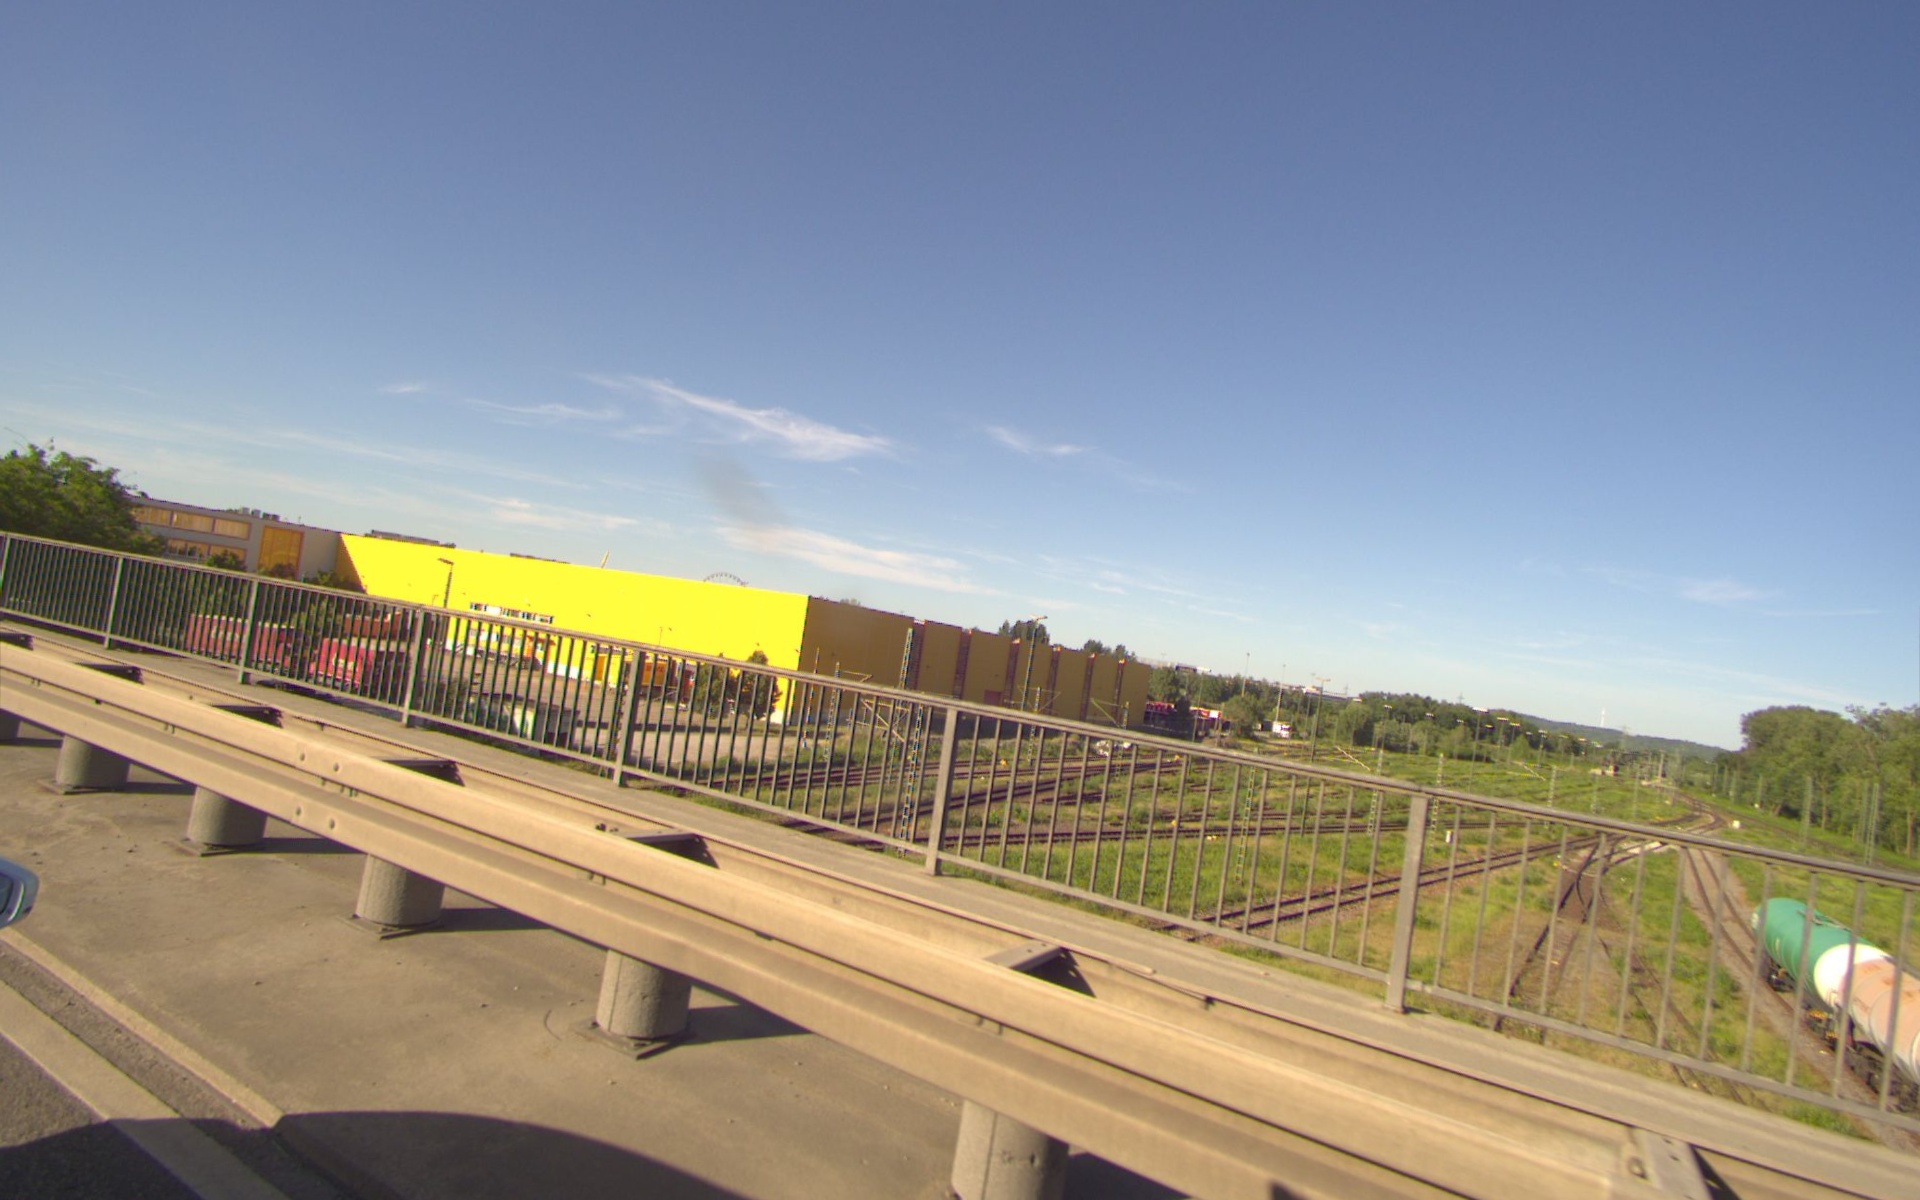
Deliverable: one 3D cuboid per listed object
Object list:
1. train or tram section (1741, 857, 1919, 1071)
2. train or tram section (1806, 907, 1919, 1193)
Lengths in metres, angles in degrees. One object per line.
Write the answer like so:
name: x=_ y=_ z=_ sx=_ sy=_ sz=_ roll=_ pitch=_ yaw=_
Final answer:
train or tram section: x=38.497 y=15.448 z=44.872 sx=3.281 sy=5.244 sz=15.158 roll=7 pitch=-1 yaw=31
train or tram section: x=30.455 y=14.035 z=31.113 sx=3.281 sy=5.323 sz=16.858 roll=7 pitch=-1 yaw=31
